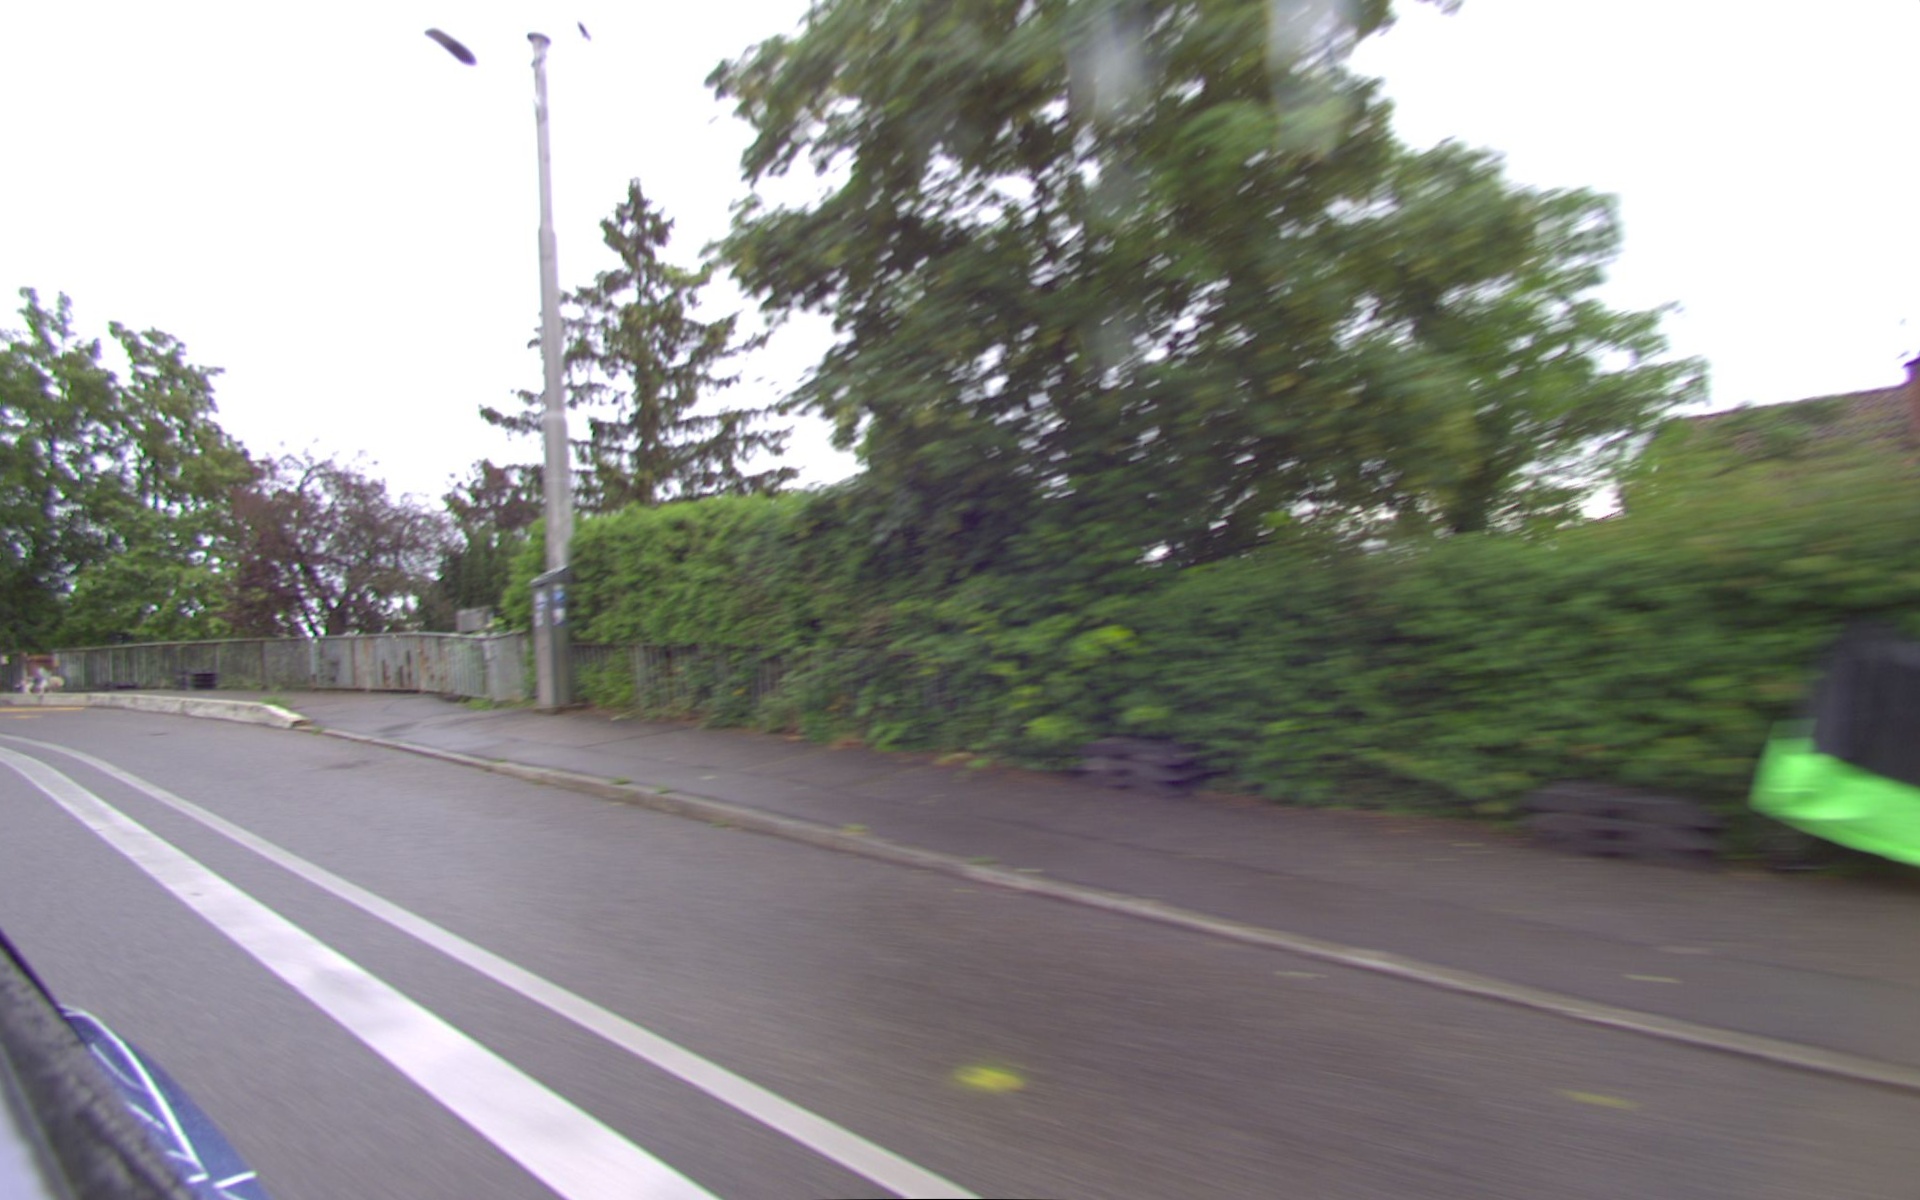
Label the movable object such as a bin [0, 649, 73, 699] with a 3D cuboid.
[{"bbox_3d":[-21.865,1.737,23.919,1.020,1.115,0.982,-3,-3,21],"label":"movable object such as a bin"}]

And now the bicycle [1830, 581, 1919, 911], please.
[{"bbox_3d":[4.535,0.596,3.930,1.742,1.359,0.416,-1,0,41],"label":"bicycle"}]

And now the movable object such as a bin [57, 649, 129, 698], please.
[{"bbox_3d":[-21.221,1.789,24.784,1.020,1.115,0.982,-5,-4,21],"label":"movable object such as a bin"}]
